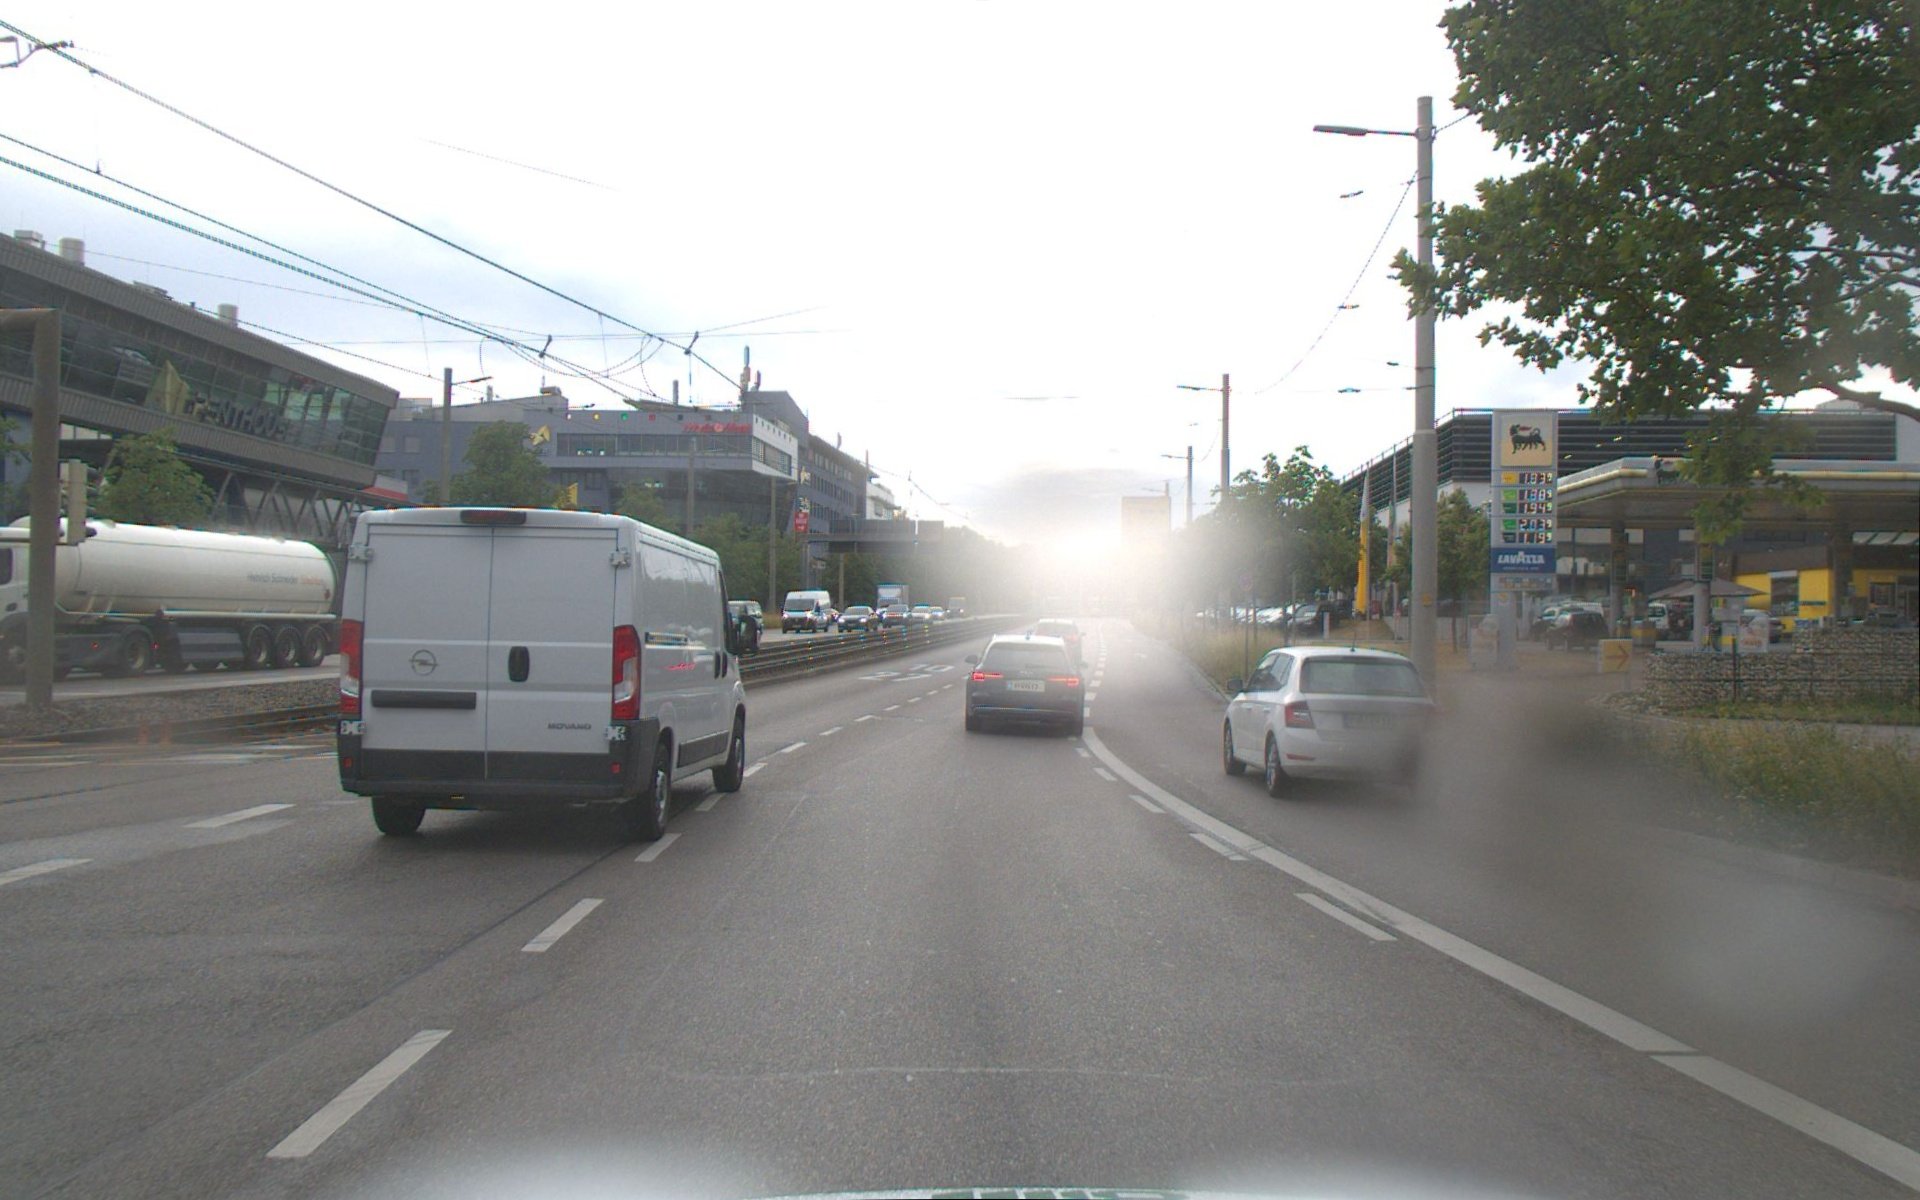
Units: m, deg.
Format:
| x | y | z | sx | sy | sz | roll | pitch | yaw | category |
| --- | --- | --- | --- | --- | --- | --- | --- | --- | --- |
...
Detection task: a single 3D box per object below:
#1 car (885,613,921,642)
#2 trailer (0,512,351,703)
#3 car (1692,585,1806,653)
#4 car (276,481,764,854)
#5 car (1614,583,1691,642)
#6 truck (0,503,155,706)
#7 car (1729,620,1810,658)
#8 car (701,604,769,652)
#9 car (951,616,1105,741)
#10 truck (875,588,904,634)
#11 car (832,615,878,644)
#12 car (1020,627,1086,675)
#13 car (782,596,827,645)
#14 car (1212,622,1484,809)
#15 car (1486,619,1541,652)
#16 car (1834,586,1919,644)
| x | y | z | sx | sy | sz | roll | pitch | yaw | category |
| --- | --- | --- | --- | --- | --- | --- | --- | --- | --- |
| -4.074 | 1.928 | 118.623 | 2.113 | 1.918 | 4.303 | 3 | 0 | 3 | car |
| -18.668 | 0.253 | 39.687 | 2.666 | 3.922 | 11.237 | -1 | -1 | 8 | trailer |
| 24.745 | 0.591 | 52.013 | 1.951 | 2.068 | 4.002 | 0 | 0 | 5 | car |
| -3.069 | 0.454 | 12.913 | 2.395 | 2.334 | 4.905 | 1 | -1 | 1 | car |
| 25.610 | 0.469 | 61.261 | 1.643 | 2.049 | 3.544 | 3 | 0 | 6 | car |
| -19.425 | 0.140 | 33.931 | 2.687 | 3.872 | 5.415 | -1 | -1 | 8 | truck |
| 36.499 | 1.739 | 74.683 | 1.951 | 1.624 | 4.002 | 0 | -1 | 4 | car |
| -9.714 | 1.205 | 71.674 | 2.114 | 1.918 | 4.302 | 3 | 0 | 2 | car |
| 0.956 | 1.132 | 25.488 | 1.954 | 1.666 | 3.998 | 3 | 0 | -3 | car |
| -5.977 | 0.926 | 141.282 | 2.115 | 3.709 | 6.872 | 3 | 0 | -1 | truck |
| -6.227 | 1.742 | 98.538 | 1.762 | 1.649 | 4.959 | 0 | -1 | 8 | car |
| 3.131 | 1.658 | 54.983 | 1.853 | 1.491 | 3.912 | 1 | -1 | 8 | car |
| -9.310 | 1.205 | 99.394 | 2.115 | 2.770 | 5.066 | 3 | 0 | -1 | car |
| 3.900 | 1.099 | 17.324 | 1.792 | 1.685 | 3.998 | 2 | -1 | -2 | car |
| 28.279 | 1.800 | 84.546 | 1.753 | 1.619 | 4.002 | 0 | -1 | 4 | car |
| 34.322 | 0.563 | 61.298 | 1.831 | 2.049 | 3.774 | 3 | 0 | 1 | car |
